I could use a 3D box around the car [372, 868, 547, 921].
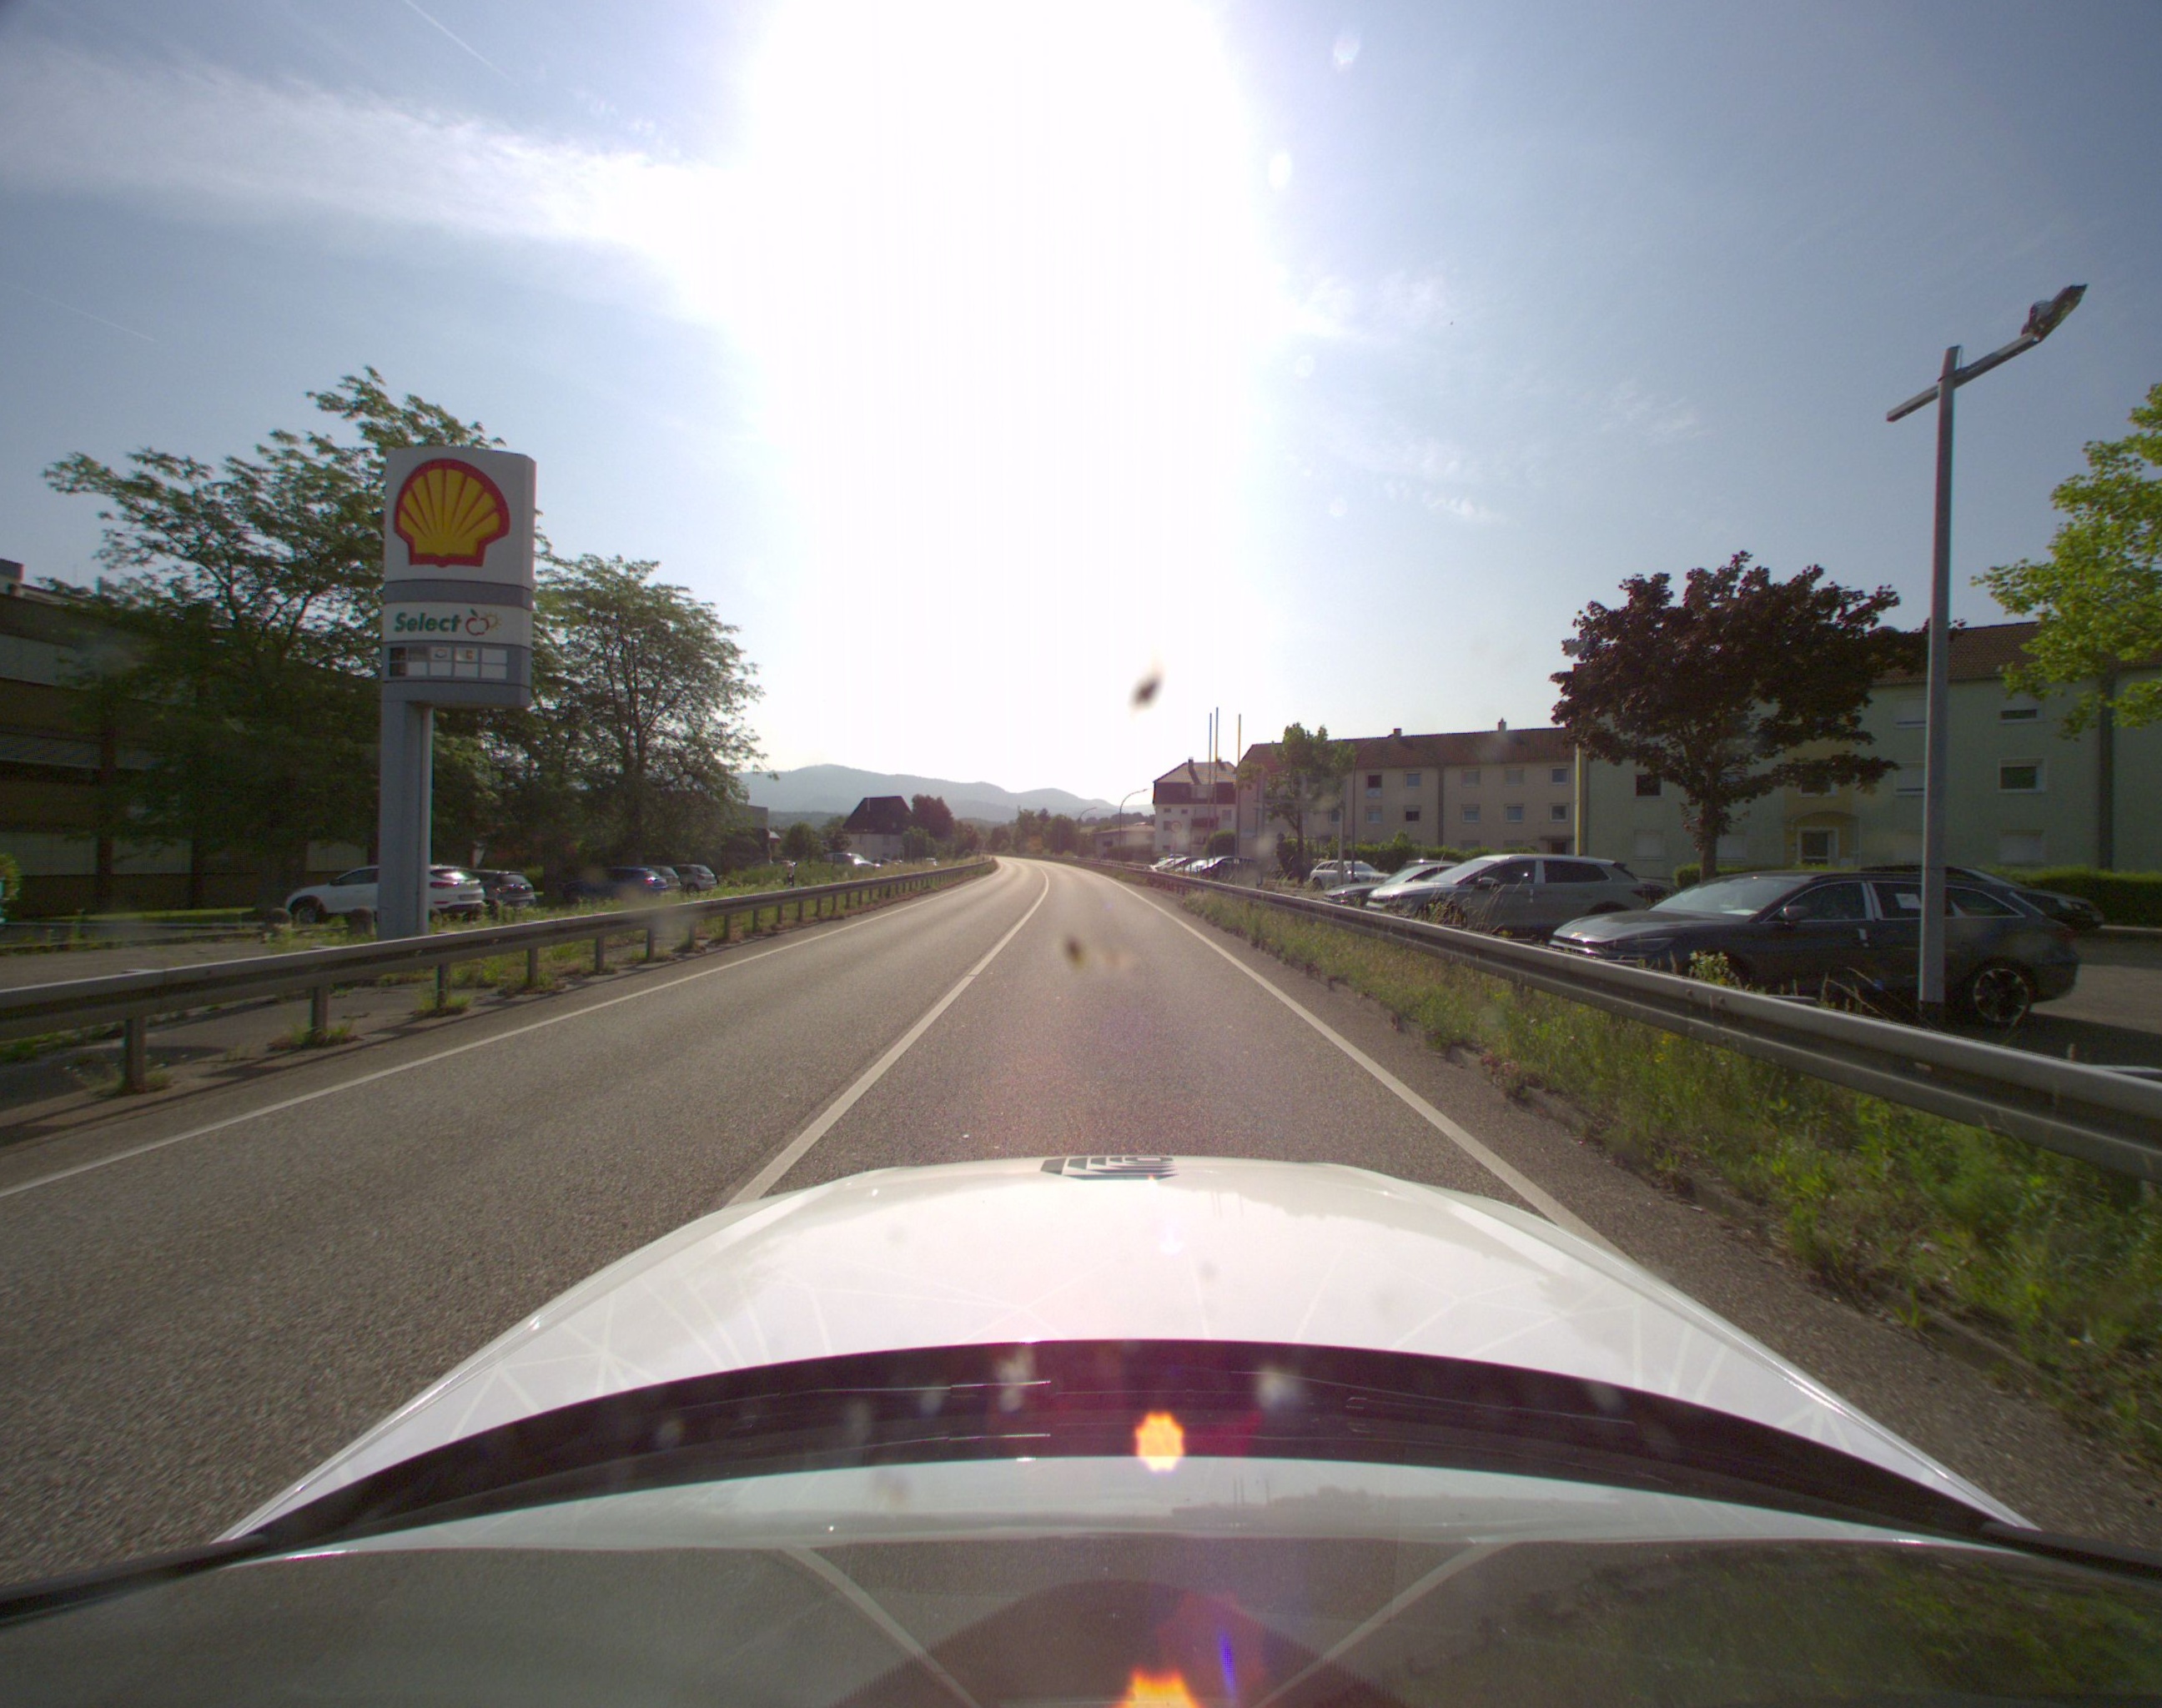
[{"bbox_3d":[-18.781,1.206,24.762,3.740,1.499,1.929,1,-1,-4],"label":"car"}]

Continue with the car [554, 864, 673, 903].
[{"bbox_3d":[-19.142,1.210,33.484,3.737,1.499,1.931,1,-1,-2],"label":"car"}]

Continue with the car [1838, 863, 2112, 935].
[{"bbox_3d":[19.027,0.877,17.542,1.657,1.366,3.636,0,-1,-21],"label":"car"}]

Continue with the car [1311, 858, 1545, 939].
[{"bbox_3d":[7.125,0.876,17.100,4.131,1.483,1.884,1,-1,4],"label":"car"}]

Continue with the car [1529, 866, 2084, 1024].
[{"bbox_3d":[7.224,0.857,8.422,4.305,1.444,1.628,0,-1,0],"label":"car"}]

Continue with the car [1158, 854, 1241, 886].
[{"bbox_3d":[6.267,0.849,43.200,3.989,1.450,1.757,4,-1,-12],"label":"car"}]

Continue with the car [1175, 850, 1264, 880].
[{"bbox_3d":[6.944,0.538,40.887,4.068,1.452,1.718,0,-1,-18],"label":"car"}]

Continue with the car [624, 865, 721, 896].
[{"bbox_3d":[-19.782,1.274,39.594,3.737,1.460,1.860,0,-1,-2],"label":"car"}]

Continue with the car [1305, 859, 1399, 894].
[{"bbox_3d":[11.887,0.944,36.061,1.787,1.420,4.414,0,0,-16],"label":"car"}]

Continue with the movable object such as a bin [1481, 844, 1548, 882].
[{"bbox_3d":[27.993,0.583,52.625,3.488,2.358,1.595,0,-4,41],"label":"movable object such as a bin"}]

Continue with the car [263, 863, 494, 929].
[{"bbox_3d":[-18.741,1.101,21.906,4.341,1.655,1.929,1,-1,-4],"label":"car"}]

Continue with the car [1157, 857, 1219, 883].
[{"bbox_3d":[6.345,0.942,48.437,3.268,1.376,1.542,3,-2,-14],"label":"car"}]

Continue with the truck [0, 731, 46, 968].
[{"bbox_3d":[-19.907,-0.124,10.261,2.771,3.557,8.262,1,0,42],"label":"truck"}]

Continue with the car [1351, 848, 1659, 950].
[{"bbox_3d":[7.201,0.747,14.261,4.301,1.640,2.142,0,-1,3],"label":"car"}]

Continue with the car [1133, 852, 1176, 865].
[{"bbox_3d":[8.455,0.552,93.414,4.556,1.348,1.764,-1,1,22],"label":"car"}]

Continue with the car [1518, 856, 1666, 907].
[{"bbox_3d":[15.839,0.797,25.449,1.710,1.405,3.636,0,0,-21],"label":"car"}]

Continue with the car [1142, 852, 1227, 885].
[{"bbox_3d":[5.785,0.808,45.614,4.239,1.572,1.909,4,-2,-14],"label":"car"}]

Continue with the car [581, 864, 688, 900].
[{"bbox_3d":[-19.921,1.231,36.446,3.729,1.499,1.860,1,-1,5],"label":"car"}]

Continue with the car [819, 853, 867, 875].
[{"bbox_3d":[-21.951,0.887,74.953,4.843,2.013,2.012,0,0,42],"label":"car"}]
